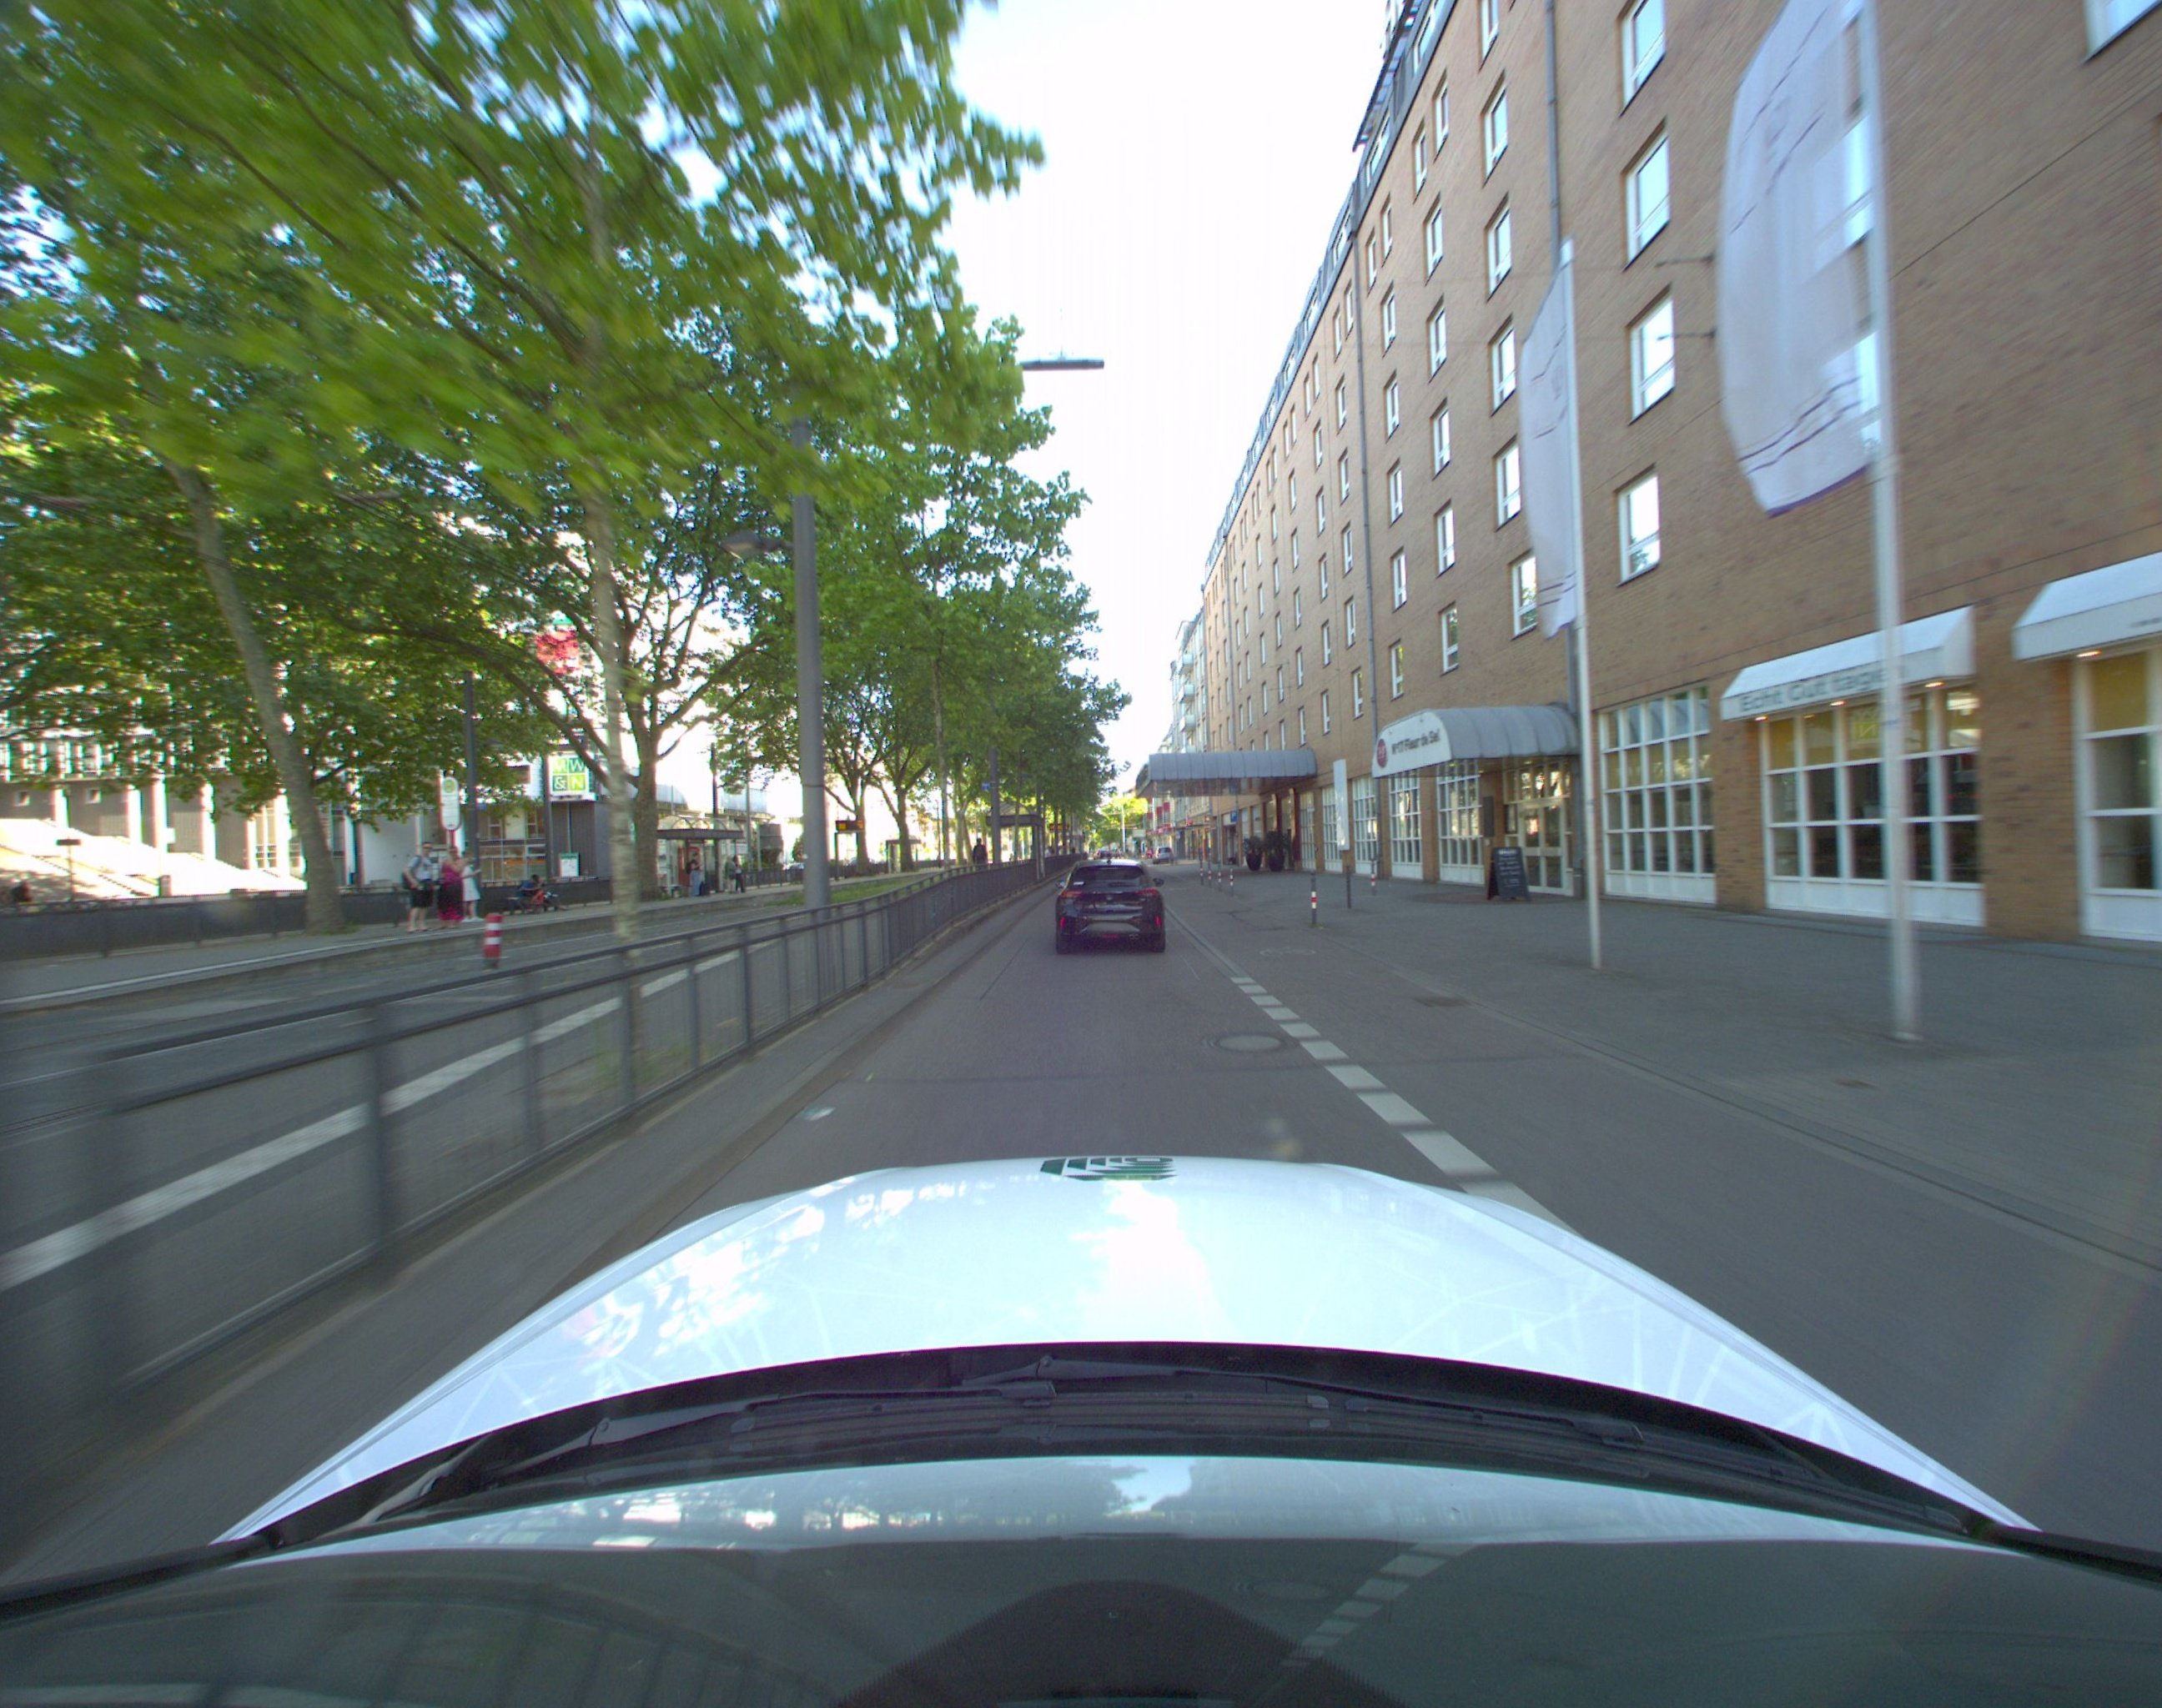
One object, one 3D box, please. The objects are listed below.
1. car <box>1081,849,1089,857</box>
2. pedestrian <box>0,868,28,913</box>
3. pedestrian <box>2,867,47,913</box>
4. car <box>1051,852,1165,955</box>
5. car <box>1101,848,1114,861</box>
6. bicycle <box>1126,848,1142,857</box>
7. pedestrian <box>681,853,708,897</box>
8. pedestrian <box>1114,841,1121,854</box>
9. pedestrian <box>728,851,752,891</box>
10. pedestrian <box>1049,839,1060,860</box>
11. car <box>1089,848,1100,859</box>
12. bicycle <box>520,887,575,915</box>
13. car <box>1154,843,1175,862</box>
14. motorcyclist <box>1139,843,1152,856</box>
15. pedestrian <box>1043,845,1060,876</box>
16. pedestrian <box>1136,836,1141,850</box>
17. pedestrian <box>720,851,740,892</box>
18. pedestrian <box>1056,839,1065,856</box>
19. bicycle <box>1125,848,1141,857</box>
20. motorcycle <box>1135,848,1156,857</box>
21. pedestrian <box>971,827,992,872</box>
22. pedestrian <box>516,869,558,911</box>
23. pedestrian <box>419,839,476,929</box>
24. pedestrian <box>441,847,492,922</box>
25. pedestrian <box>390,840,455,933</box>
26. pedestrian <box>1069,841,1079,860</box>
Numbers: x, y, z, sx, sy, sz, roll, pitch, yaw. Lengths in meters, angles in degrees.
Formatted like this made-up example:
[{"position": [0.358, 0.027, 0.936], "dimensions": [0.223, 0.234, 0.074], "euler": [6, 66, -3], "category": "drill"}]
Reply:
[{"position": [0.857, -0.277, 165.182], "dimensions": [1.608, 1.501, 3.691], "euler": [-2, 1, 1], "category": "car"}, {"position": [-40.168, 1.356, 30.417], "dimensions": [0.694, 1.652, 0.706], "euler": [-2, 0, 1], "category": "pedestrian"}, {"position": [-39.420, 1.319, 30.401], "dimensions": [0.694, 1.652, 0.706], "euler": [-2, 0, 1], "category": "pedestrian"}, {"position": [0.563, 0.726, 13.810], "dimensions": [1.664, 1.502, 3.696], "euler": [0, 0, 5], "category": "car"}, {"position": [3.380, 0.053, 104.163], "dimensions": [1.608, 1.501, 3.691], "euler": [-2, 1, 1], "category": "car"}, {"position": [8.001, -0.281, 122.086], "dimensions": [2.345, 1.233, 0.684], "euler": [-2, 0, 3], "category": "bicycle"}, {"position": [-14.066, 0.758, 29.652], "dimensions": [0.479, 1.573, 0.676], "euler": [0, 3, 44], "category": "pedestrian"}, {"position": [7.789, -1.379, 174.383], "dimensions": [1.154, 2.871, 0.910], "euler": [-3, 0, -32], "category": "pedestrian"}, {"position": [-13.686, 0.682, 32.688], "dimensions": [0.559, 1.573, 0.642], "euler": [-2, 2, 14], "category": "pedestrian"}, {"position": [-1.724, -0.289, 53.633], "dimensions": [0.602, 1.365, 0.486], "euler": [-4, 0, 1], "category": "pedestrian"}, {"position": [2.048, -0.073, 123.105], "dimensions": [1.608, 1.501, 3.691], "euler": [-2, 1, 1], "category": "car"}, {"position": [-15.426, 1.351, 23.600], "dimensions": [0.391, 0.689, 1.696], "euler": [-2, 1, 2], "category": "bicycle"}, {"position": [7.628, -0.149, 74.886], "dimensions": [1.665, 1.652, 3.693], "euler": [-2, 1, 2], "category": "car"}, {"position": [8.636, -0.633, 108.873], "dimensions": [1.312, 1.698, 1.226], "euler": [-2, 1, -28], "category": "motorcyclist"}, {"position": [-1.386, 0.298, 38.324], "dimensions": [0.720, 1.444, 0.626], "euler": [-2, 0, -2], "category": "pedestrian"}, {"position": [11.735, -2.188, 166.526], "dimensions": [0.914, 2.871, 1.150], "euler": [-2, 0, 0], "category": "pedestrian"}, {"position": [-13.837, 0.699, 32.107], "dimensions": [0.498, 1.573, 0.495], "euler": [-2, 2, 5], "category": "pedestrian"}, {"position": [-1.691, -0.557, 68.167], "dimensions": [0.602, 1.365, 0.486], "euler": [-4, 0, 1], "category": "pedestrian"}, {"position": [7.775, -0.224, 120.821], "dimensions": [2.345, 1.233, 0.684], "euler": [-2, 0, 3], "category": "bicycle"}, {"position": [8.642, -0.171, 108.881], "dimensions": [1.312, 1.058, 3.069], "euler": [-3, 1, -28], "category": "motorcycle"}, {"position": [-3.816, -0.176, 31.243], "dimensions": [0.602, 1.680, 0.486], "euler": [-4, 0, 1], "category": "pedestrian"}, {"position": [-15.678, 1.033, 23.486], "dimensions": [0.586, 1.164, 0.748], "euler": [-2, 1, 17], "category": "pedestrian"}, {"position": [-13.441, 0.621, 17.281], "dimensions": [0.585, 1.828, 0.749], "euler": [-2, 1, 33], "category": "pedestrian"}, {"position": [-15.079, 0.736, 19.993], "dimensions": [0.586, 1.800, 0.748], "euler": [-2, 0, 17], "category": "pedestrian"}, {"position": [-13.367, 0.638, 16.554], "dimensions": [0.633, 1.828, 0.744], "euler": [-2, 0, -3], "category": "pedestrian"}, {"position": [-0.540, -0.294, 63.453], "dimensions": [0.720, 1.444, 0.626], "euler": [-2, 0, -2], "category": "pedestrian"}]
